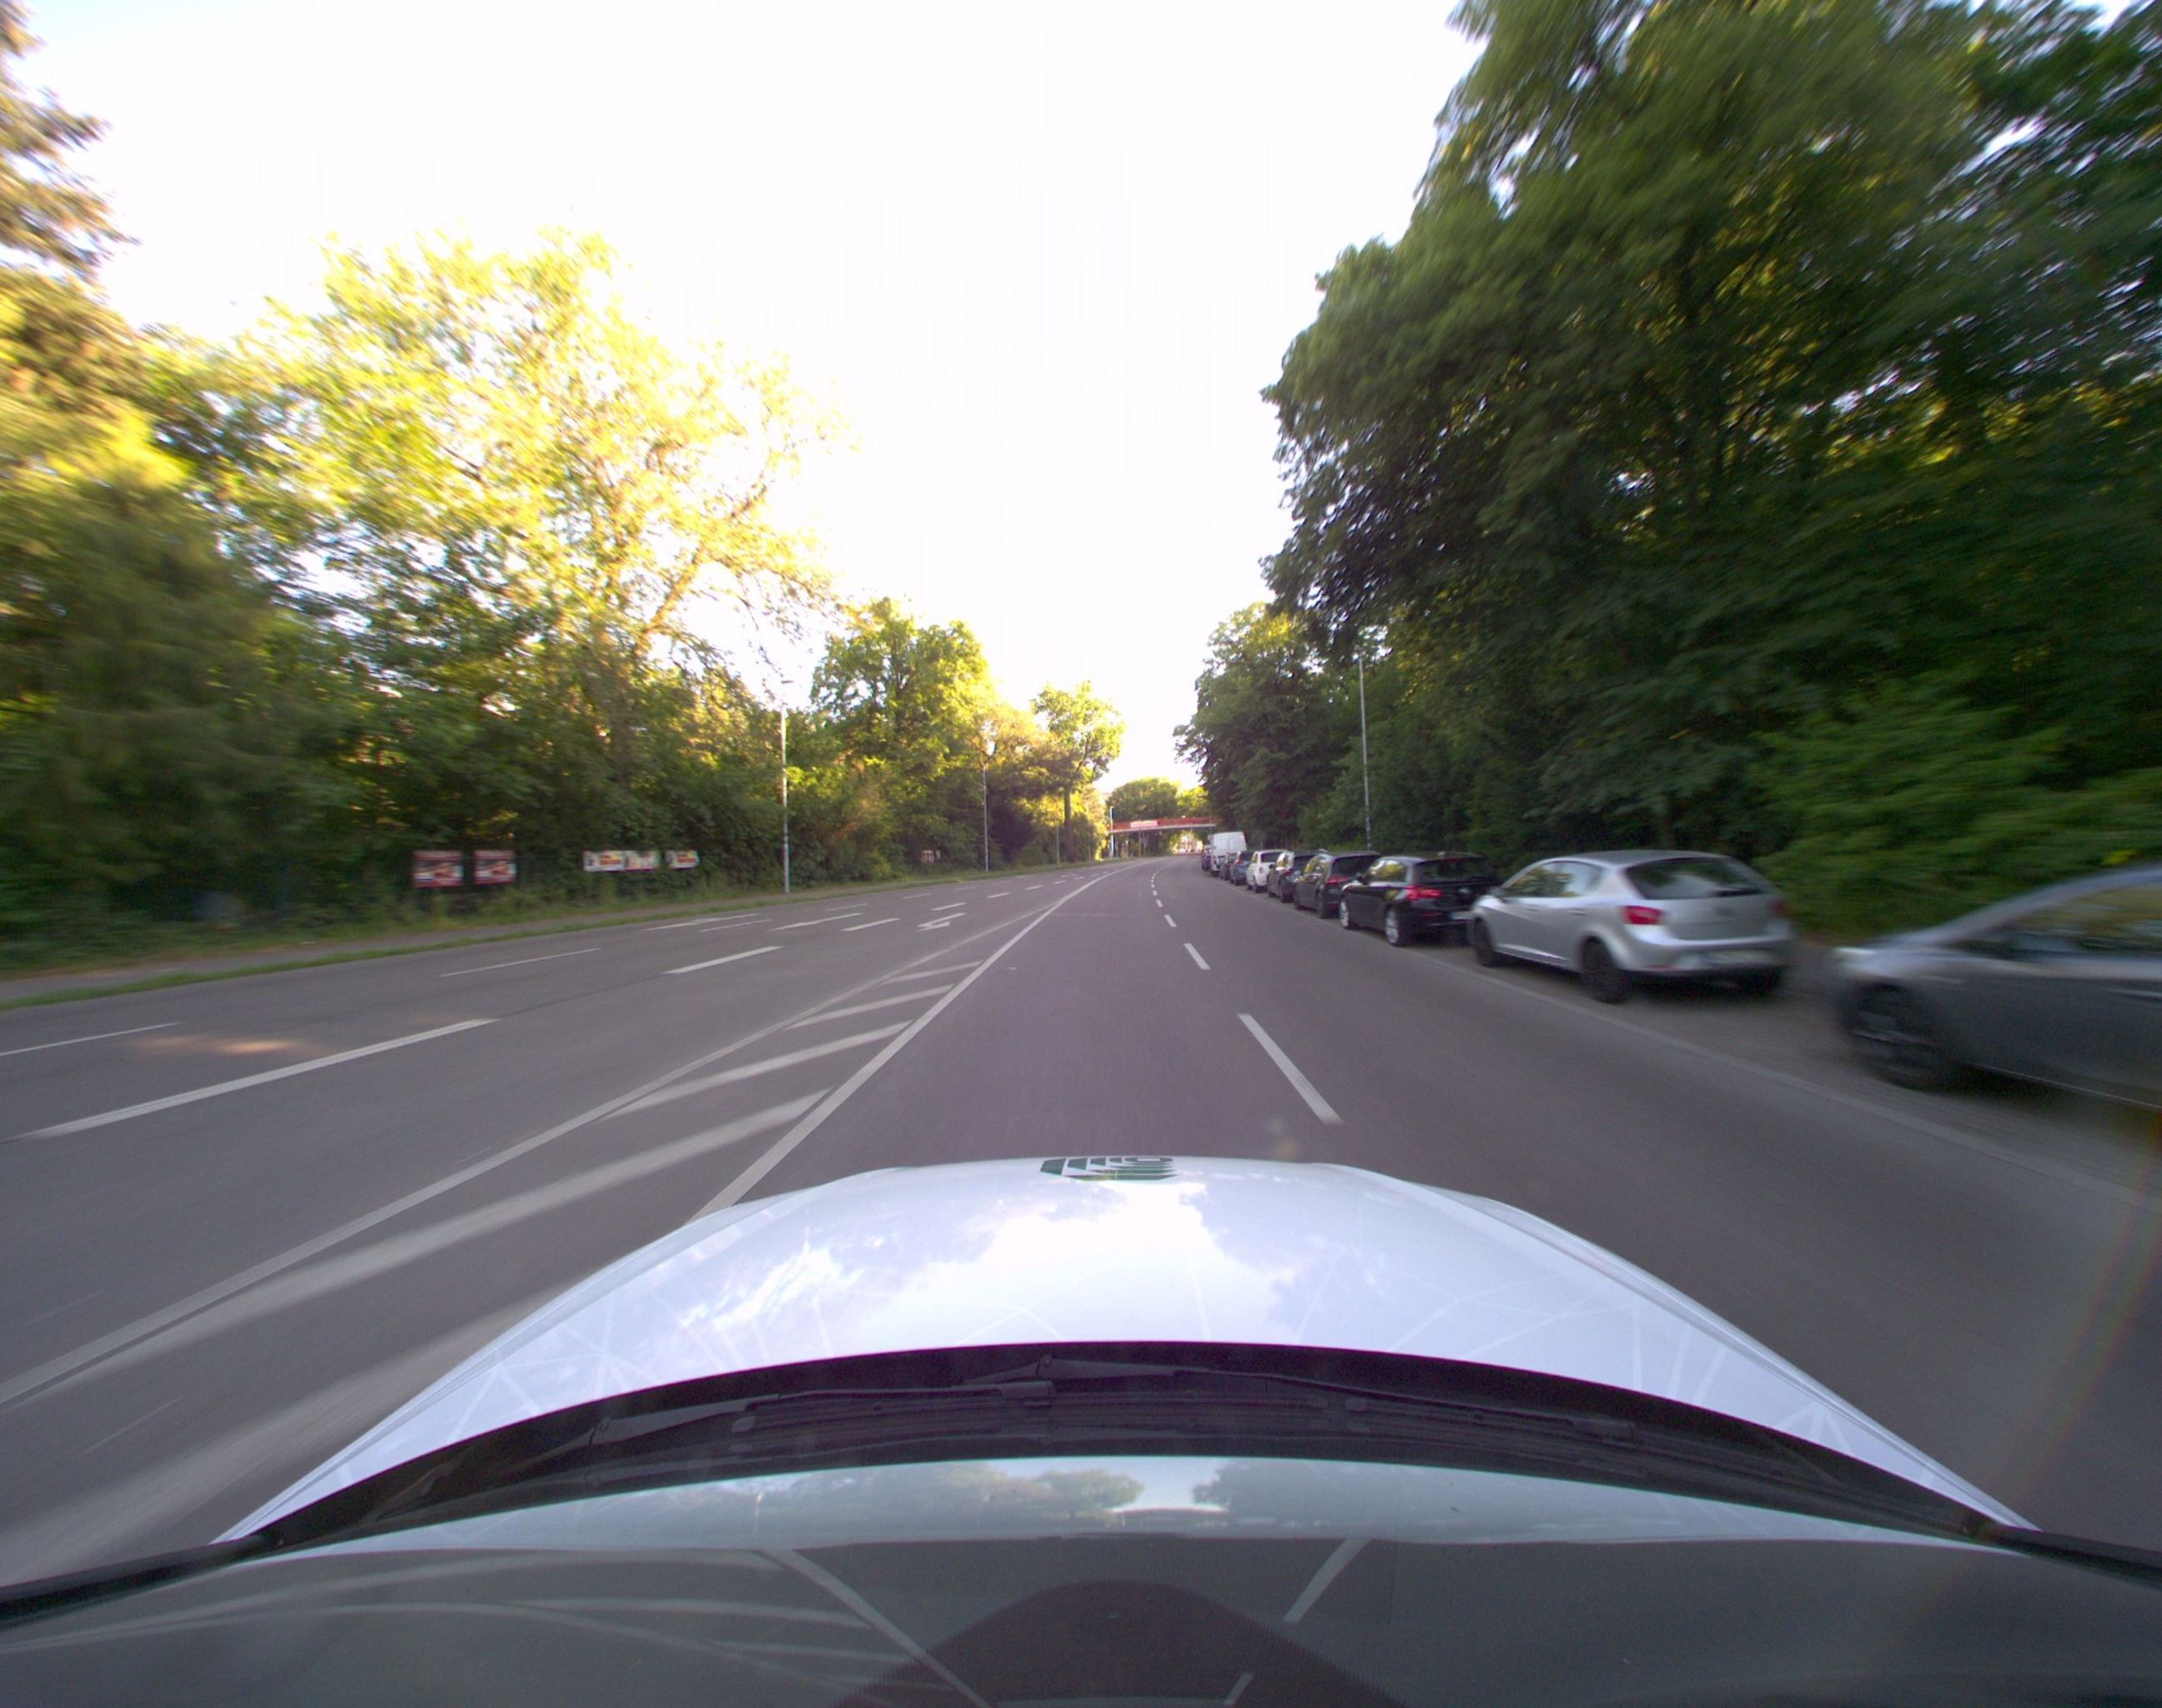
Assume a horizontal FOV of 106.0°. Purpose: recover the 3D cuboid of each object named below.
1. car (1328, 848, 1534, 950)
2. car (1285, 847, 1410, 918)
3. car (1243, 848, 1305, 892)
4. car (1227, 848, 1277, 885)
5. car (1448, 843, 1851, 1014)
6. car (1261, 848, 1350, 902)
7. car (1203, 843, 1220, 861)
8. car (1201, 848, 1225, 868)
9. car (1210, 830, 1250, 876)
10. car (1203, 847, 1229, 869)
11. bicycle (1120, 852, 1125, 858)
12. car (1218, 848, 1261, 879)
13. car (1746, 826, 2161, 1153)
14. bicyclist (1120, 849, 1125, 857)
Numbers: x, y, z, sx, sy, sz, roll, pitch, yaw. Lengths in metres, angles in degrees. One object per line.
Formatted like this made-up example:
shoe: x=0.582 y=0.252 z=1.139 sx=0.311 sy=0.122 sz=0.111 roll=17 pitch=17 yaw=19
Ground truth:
car: x=5.785 y=0.663 z=14.115 sx=1.711 sy=1.411 sz=4.489 roll=-3 pitch=0 yaw=2
car: x=6.195 y=0.614 z=19.496 sx=1.710 sy=1.411 sz=4.491 roll=-3 pitch=0 yaw=3
car: x=7.106 y=0.575 z=30.319 sx=1.669 sy=1.464 sz=3.694 roll=-3 pitch=0 yaw=5
car: x=7.530 y=0.514 z=36.117 sx=1.669 sy=1.464 sz=4.073 roll=-3 pitch=0 yaw=6
car: x=5.883 y=0.658 z=9.165 sx=1.711 sy=1.411 sz=4.126 roll=-3 pitch=0 yaw=2
car: x=6.715 y=0.583 z=24.852 sx=1.710 sy=1.411 sz=4.913 roll=-3 pitch=0 yaw=5
car: x=15.273 y=-0.201 z=95.467 sx=1.858 sy=1.981 sz=5.488 roll=-3 pitch=0 yaw=9
car: x=10.747 y=0.318 z=66.561 sx=1.749 sy=1.535 sz=4.999 roll=-3 pitch=0 yaw=7
car: x=8.683 y=-0.056 z=47.898 sx=1.894 sy=2.423 sz=5.586 roll=-3 pitch=0 yaw=7
car: x=10.070 y=0.296 z=60.820 sx=1.668 sy=1.535 sz=4.362 roll=-3 pitch=0 yaw=7
bicycle: x=8.275 y=0.265 z=162.230 sx=0.708 sy=1.147 sz=1.998 roll=-1 pitch=-1 yaw=8
car: x=8.085 y=0.475 z=41.846 sx=1.669 sy=1.400 sz=4.658 roll=-3 pitch=0 yaw=6
car: x=5.787 y=0.598 z=3.961 sx=1.711 sy=1.469 sz=4.204 roll=-3 pitch=0 yaw=2
bicyclist: x=8.264 y=-0.166 z=162.236 sx=0.708 sy=1.559 sz=1.145 roll=-1 pitch=-1 yaw=8
